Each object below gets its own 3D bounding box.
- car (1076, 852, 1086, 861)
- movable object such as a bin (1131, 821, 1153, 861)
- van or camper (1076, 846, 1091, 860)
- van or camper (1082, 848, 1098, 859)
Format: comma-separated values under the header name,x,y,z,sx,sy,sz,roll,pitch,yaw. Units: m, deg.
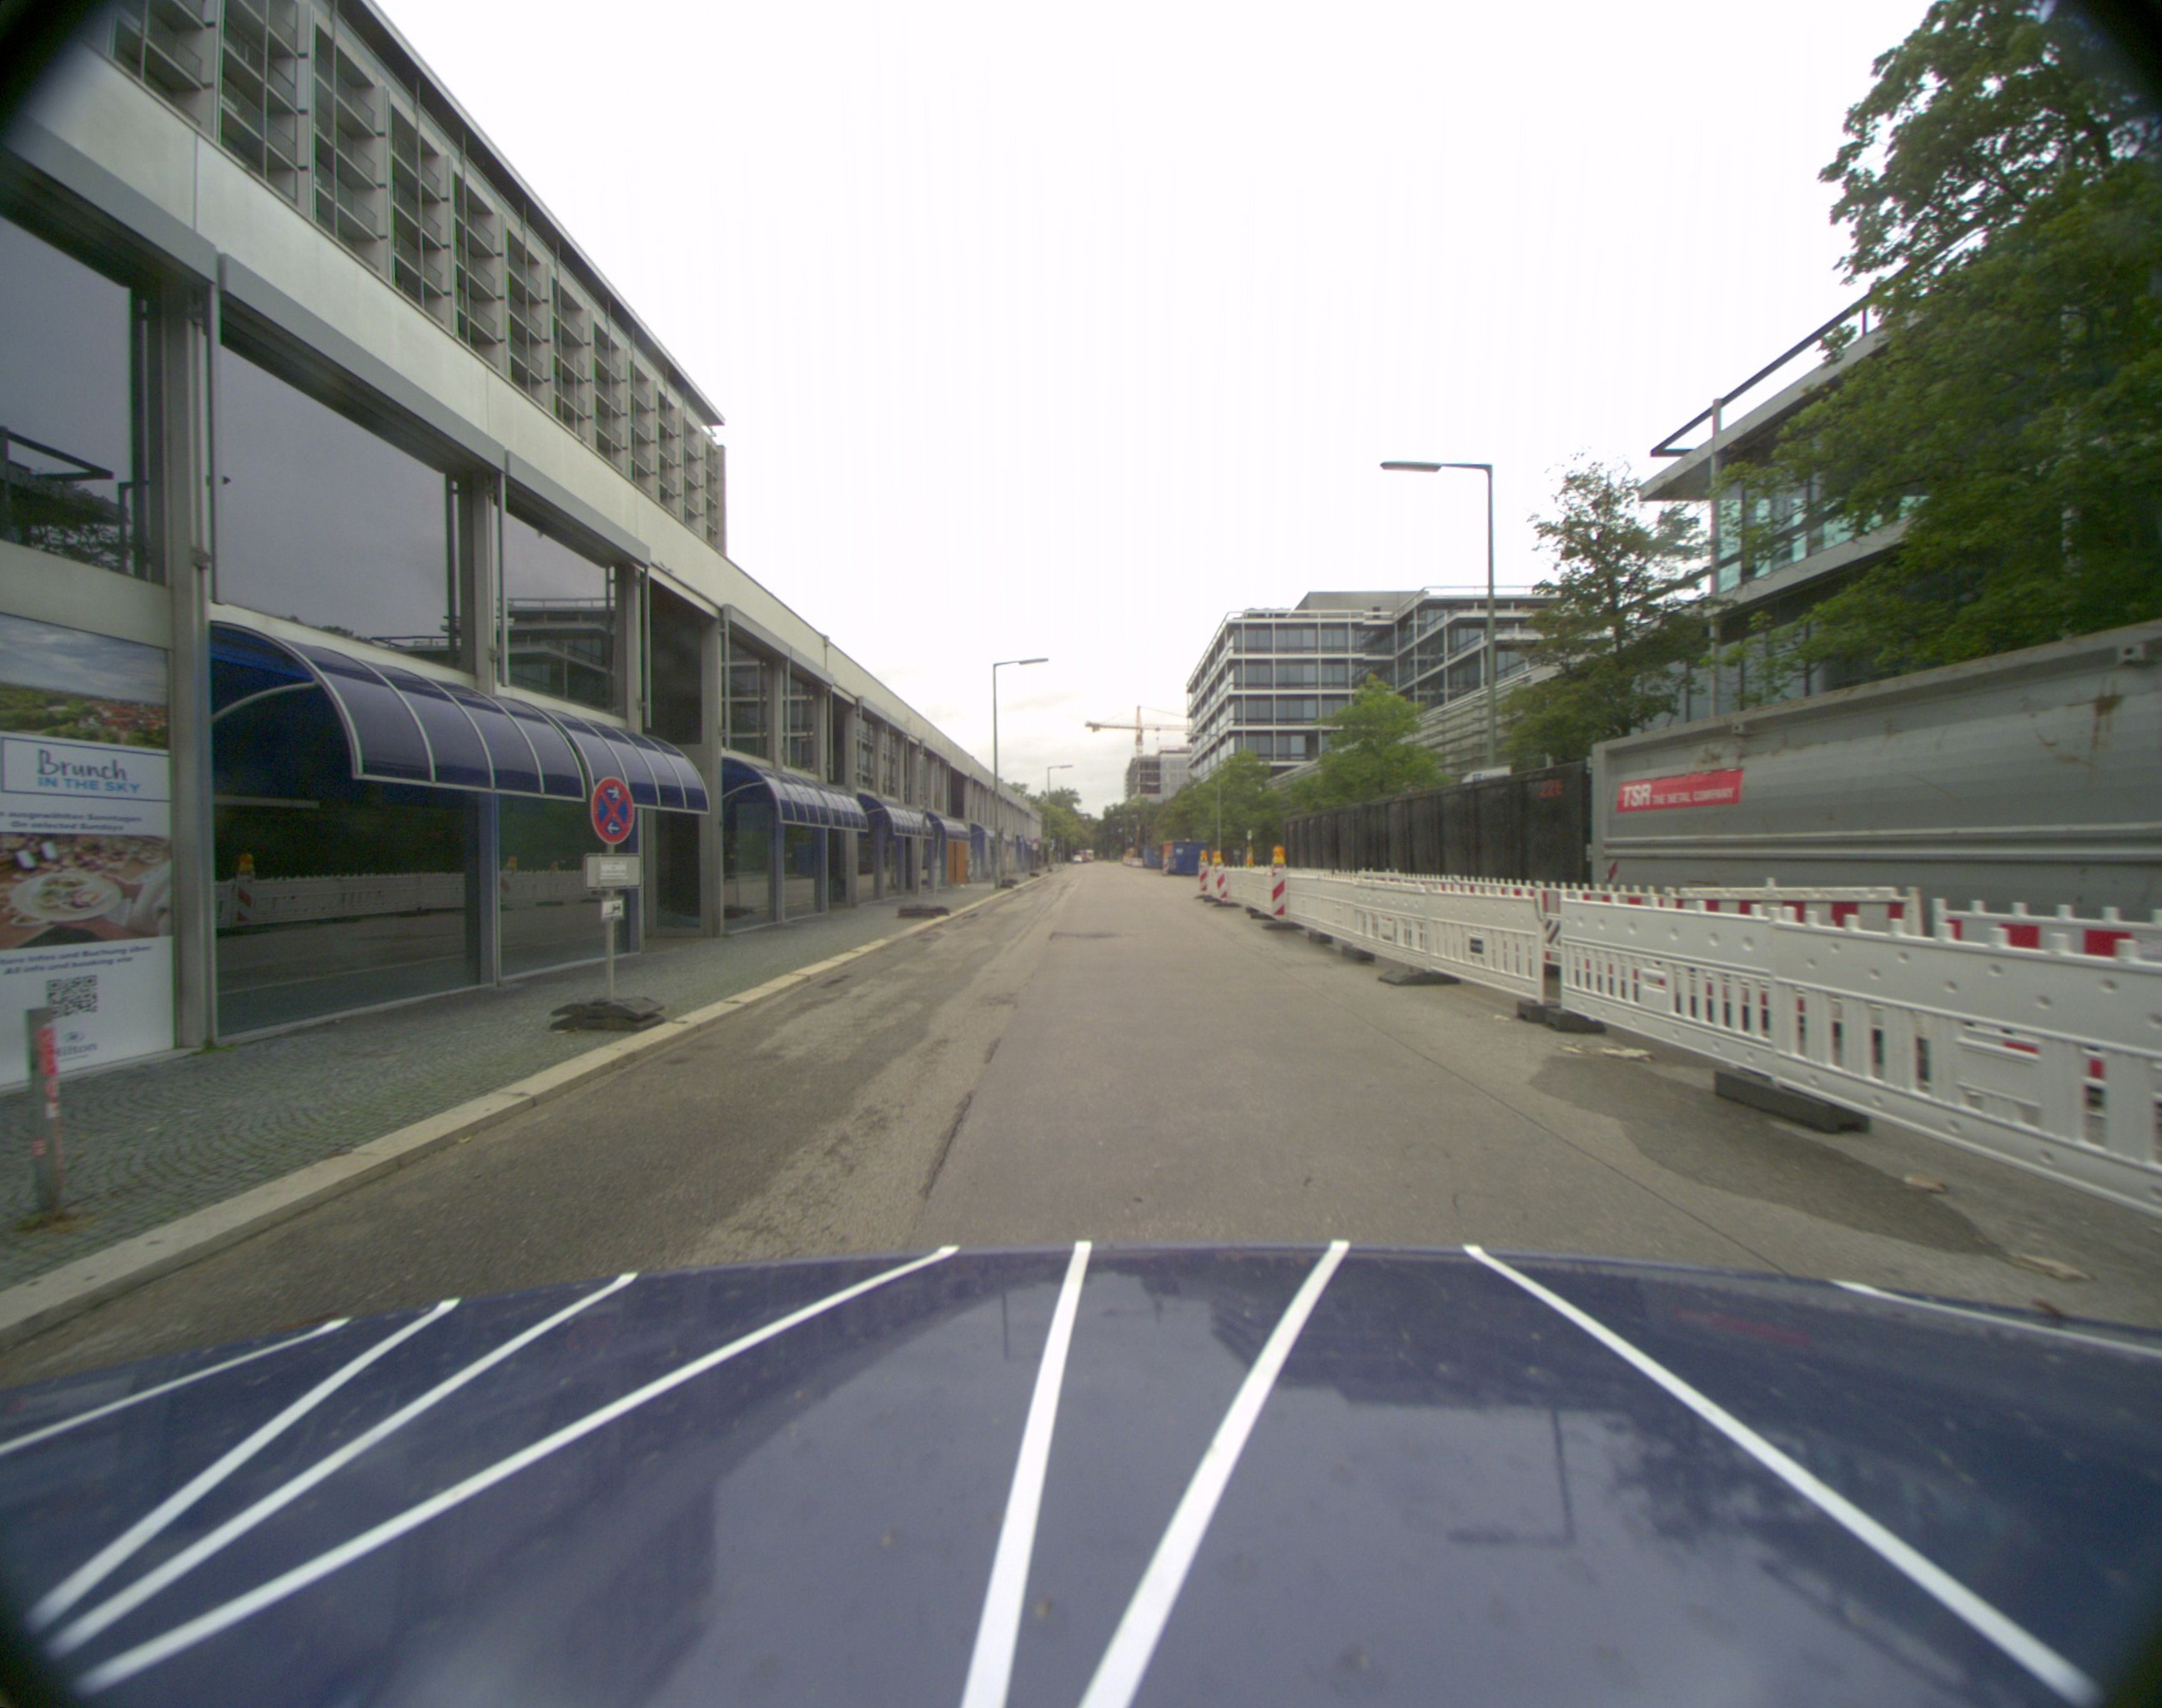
name,x,y,z,sx,sy,sz,roll,pitch,yaw
car,0.022,0.447,148.448,1.912,1.627,4.001,0,0,3
movable object such as a bin,9.750,-2.037,122.265,3.241,6.285,8.338,0,0,3
van or camper,0.534,-0.152,154.712,2.666,2.751,6.917,0,0,4
van or camper,2.025,-0.108,168.991,2.665,2.436,6.448,0,0,7
